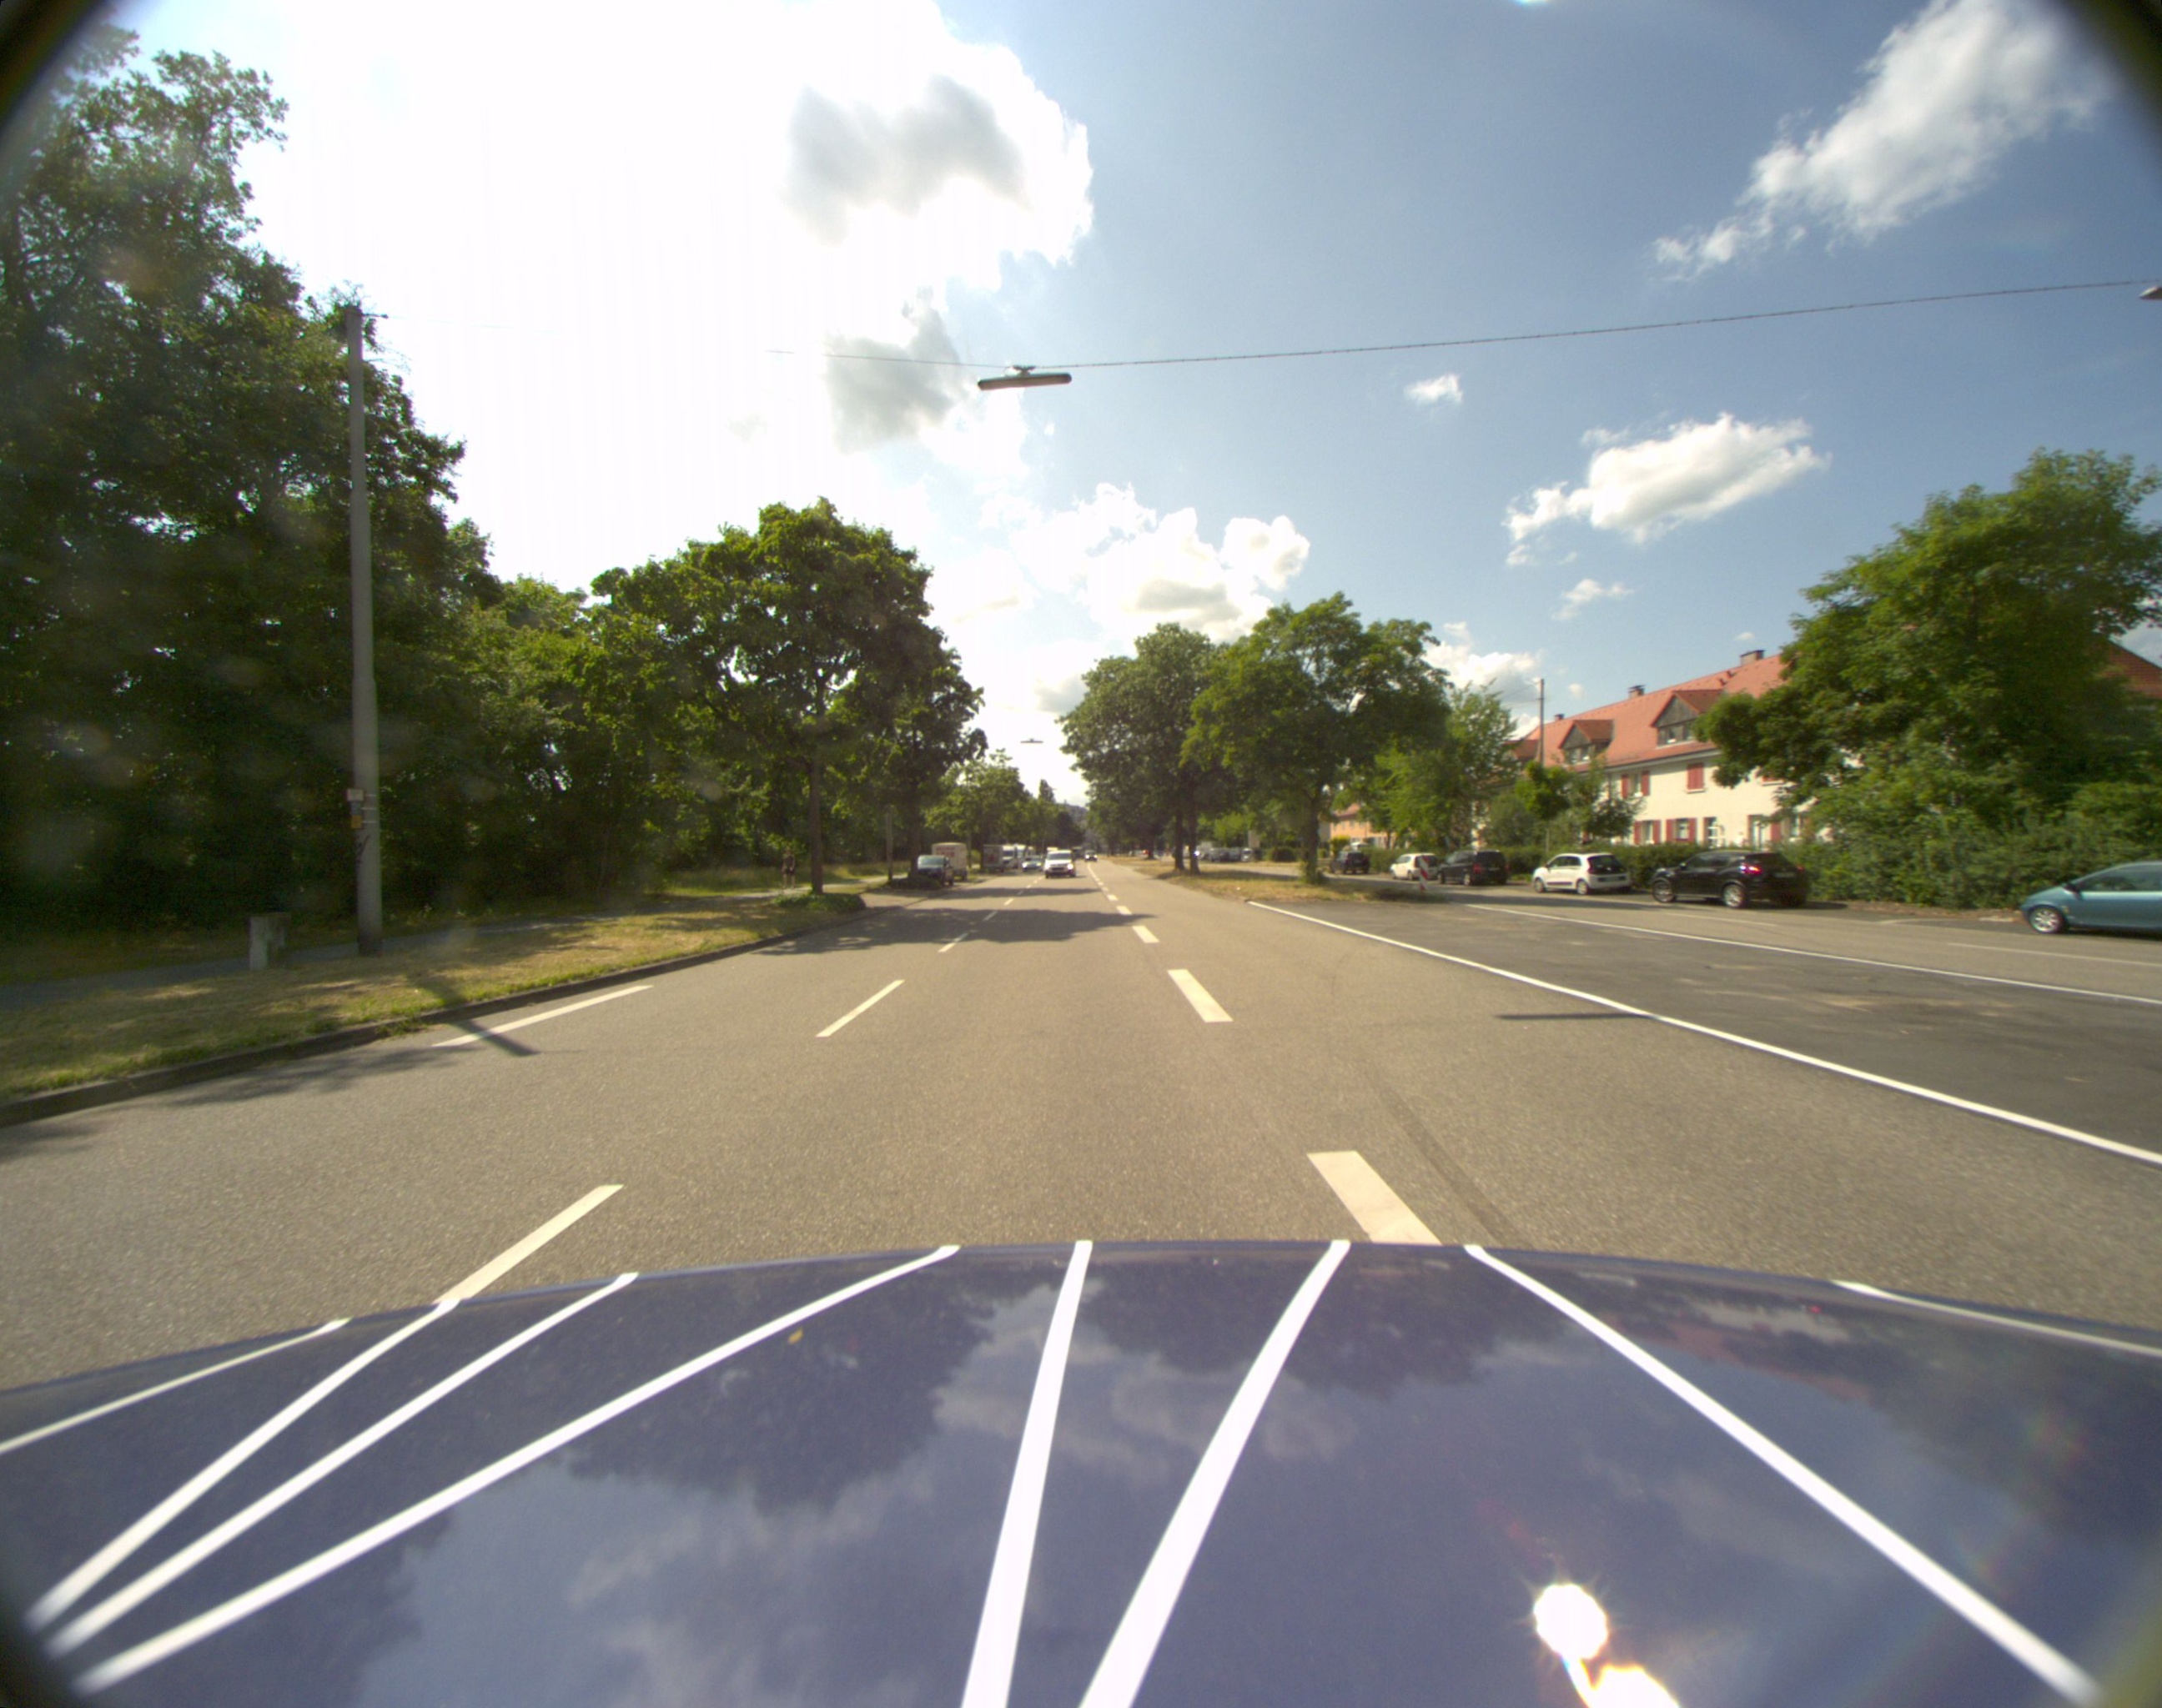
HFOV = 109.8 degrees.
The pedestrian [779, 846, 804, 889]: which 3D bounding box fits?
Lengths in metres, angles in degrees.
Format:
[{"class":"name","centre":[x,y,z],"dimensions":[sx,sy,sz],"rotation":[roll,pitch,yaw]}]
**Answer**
[{"class":"pedestrian","centre":[-12.479,0.587,32.783],"dimensions":[0.719,1.784,0.740],"rotation":[-3,2,0]}]

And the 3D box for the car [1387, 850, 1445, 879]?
[{"class":"car","centre":[18.688,0.566,42.542],"dimensions":[1.598,1.453,3.534],"rotation":[-3,1,0]}]

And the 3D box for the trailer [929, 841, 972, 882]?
[{"class":"trailer","centre":[-7.931,0.411,46.546],"dimensions":[1.958,2.338,4.604],"rotation":[0,1,-1]}]

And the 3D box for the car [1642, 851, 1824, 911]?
[{"class":"car","centre":[18.544,0.704,21.906],"dimensions":[1.664,1.473,4.103],"rotation":[-3,0,0]}]

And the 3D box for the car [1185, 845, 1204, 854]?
[{"class":"car","centre":[21.558,-0.860,144.261],"dimensions":[1.668,1.456,3.827],"rotation":[-2,2,42]}]

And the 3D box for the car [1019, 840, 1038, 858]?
[{"class":"car","centre":[-7.471,-0.769,109.157],"dimensions":[2.262,2.526,6.766],"rotation":[1,1,0]}]

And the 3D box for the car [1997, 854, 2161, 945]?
[{"class":"car","centre":[18.519,0.762,12.967],"dimensions":[1.566,1.387,3.476],"rotation":[-3,1,1]}]

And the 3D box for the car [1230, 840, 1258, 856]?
[{"class":"car","centre":[22.583,-0.786,105.294],"dimensions":[4.007,2.002,1.800],"rotation":[-4,2,-42]}]

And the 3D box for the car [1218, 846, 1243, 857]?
[{"class":"car","centre":[21.970,-0.413,111.602],"dimensions":[4.007,1.390,1.569],"rotation":[-4,2,-42]}]

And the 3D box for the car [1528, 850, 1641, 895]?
[{"class":"car","centre":[18.826,0.631,28.640],"dimensions":[1.664,1.443,3.846],"rotation":[-3,1,0]}]

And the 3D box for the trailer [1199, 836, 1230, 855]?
[{"class":"trailer","centre":[23.085,-1.500,131.132],"dimensions":[2.820,3.090,5.764],"rotation":[-3,0,39]}]

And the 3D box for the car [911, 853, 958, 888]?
[{"class":"car","centre":[-7.686,0.841,40.146],"dimensions":[1.595,1.681,4.361],"rotation":[0,1,1]}]

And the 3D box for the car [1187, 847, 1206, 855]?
[{"class":"car","centre":[22.789,-0.649,149.968],"dimensions":[1.668,1.341,3.827],"rotation":[-2,2,42]}]

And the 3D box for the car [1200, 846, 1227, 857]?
[{"class":"car","centre":[20.759,-0.411,119.147],"dimensions":[3.997,1.502,1.800],"rotation":[-3,1,1]}]

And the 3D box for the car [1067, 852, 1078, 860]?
[{"class":"car","centre":[-1.624,0.347,145.404],"dimensions":[1.892,1.281,3.999],"rotation":[-3,1,0]}]

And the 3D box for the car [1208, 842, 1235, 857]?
[{"class":"car","centre":[21.189,-0.694,114.264],"dimensions":[4.007,2.002,1.800],"rotation":[-4,2,-42]}]

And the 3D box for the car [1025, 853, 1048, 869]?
[{"class":"car","centre":[-4.089,0.635,70.560],"dimensions":[1.892,1.281,3.999],"rotation":[-3,1,0]}]

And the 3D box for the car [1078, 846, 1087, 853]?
[{"class":"car","centre":[0.222,-0.943,166.107],"dimensions":[1.892,1.281,3.999],"rotation":[-3,1,0]}]

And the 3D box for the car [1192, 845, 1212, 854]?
[{"class":"car","centre":[22.639,-0.884,142.137],"dimensions":[1.668,1.456,3.827],"rotation":[-2,2,42]}]

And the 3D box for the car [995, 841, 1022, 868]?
[{"class":"car","centre":[-7.714,0.041,81.505],"dimensions":[2.181,2.680,6.150],"rotation":[-3,1,0]}]

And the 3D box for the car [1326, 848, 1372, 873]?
[{"class":"car","centre":[18.716,0.408,53.226],"dimensions":[1.772,1.543,3.999],"rotation":[-3,1,0]}]

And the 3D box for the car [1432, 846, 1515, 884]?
[{"class":"car","centre":[18.600,0.481,36.236],"dimensions":[1.664,1.603,4.313],"rotation":[-3,1,0]}]

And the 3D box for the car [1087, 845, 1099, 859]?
[{"class":"car","centre":[1.858,-0.353,116.580],"dimensions":[1.768,1.893,4.541],"rotation":[-3,1,2]}]

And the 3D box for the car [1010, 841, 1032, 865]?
[{"class":"car","centre":[-7.444,-0.142,94.935],"dimensions":[2.262,2.787,6.766],"rotation":[1,1,0]}]

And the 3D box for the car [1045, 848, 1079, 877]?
[{"class":"car","centre":[-1.205,0.535,50.119],"dimensions":[1.935,1.774,4.716],"rotation":[-3,0,2]}]

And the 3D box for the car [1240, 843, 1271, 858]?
[{"class":"car","centre":[21.998,-0.435,95.850],"dimensions":[4.008,1.849,1.800],"rotation":[-2,0,-42]}]

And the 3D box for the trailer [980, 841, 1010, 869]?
[{"class":"trailer","centre":[-7.598,0.050,67.364],"dimensions":[1.998,2.352,4.781],"rotation":[3,1,0]}]
